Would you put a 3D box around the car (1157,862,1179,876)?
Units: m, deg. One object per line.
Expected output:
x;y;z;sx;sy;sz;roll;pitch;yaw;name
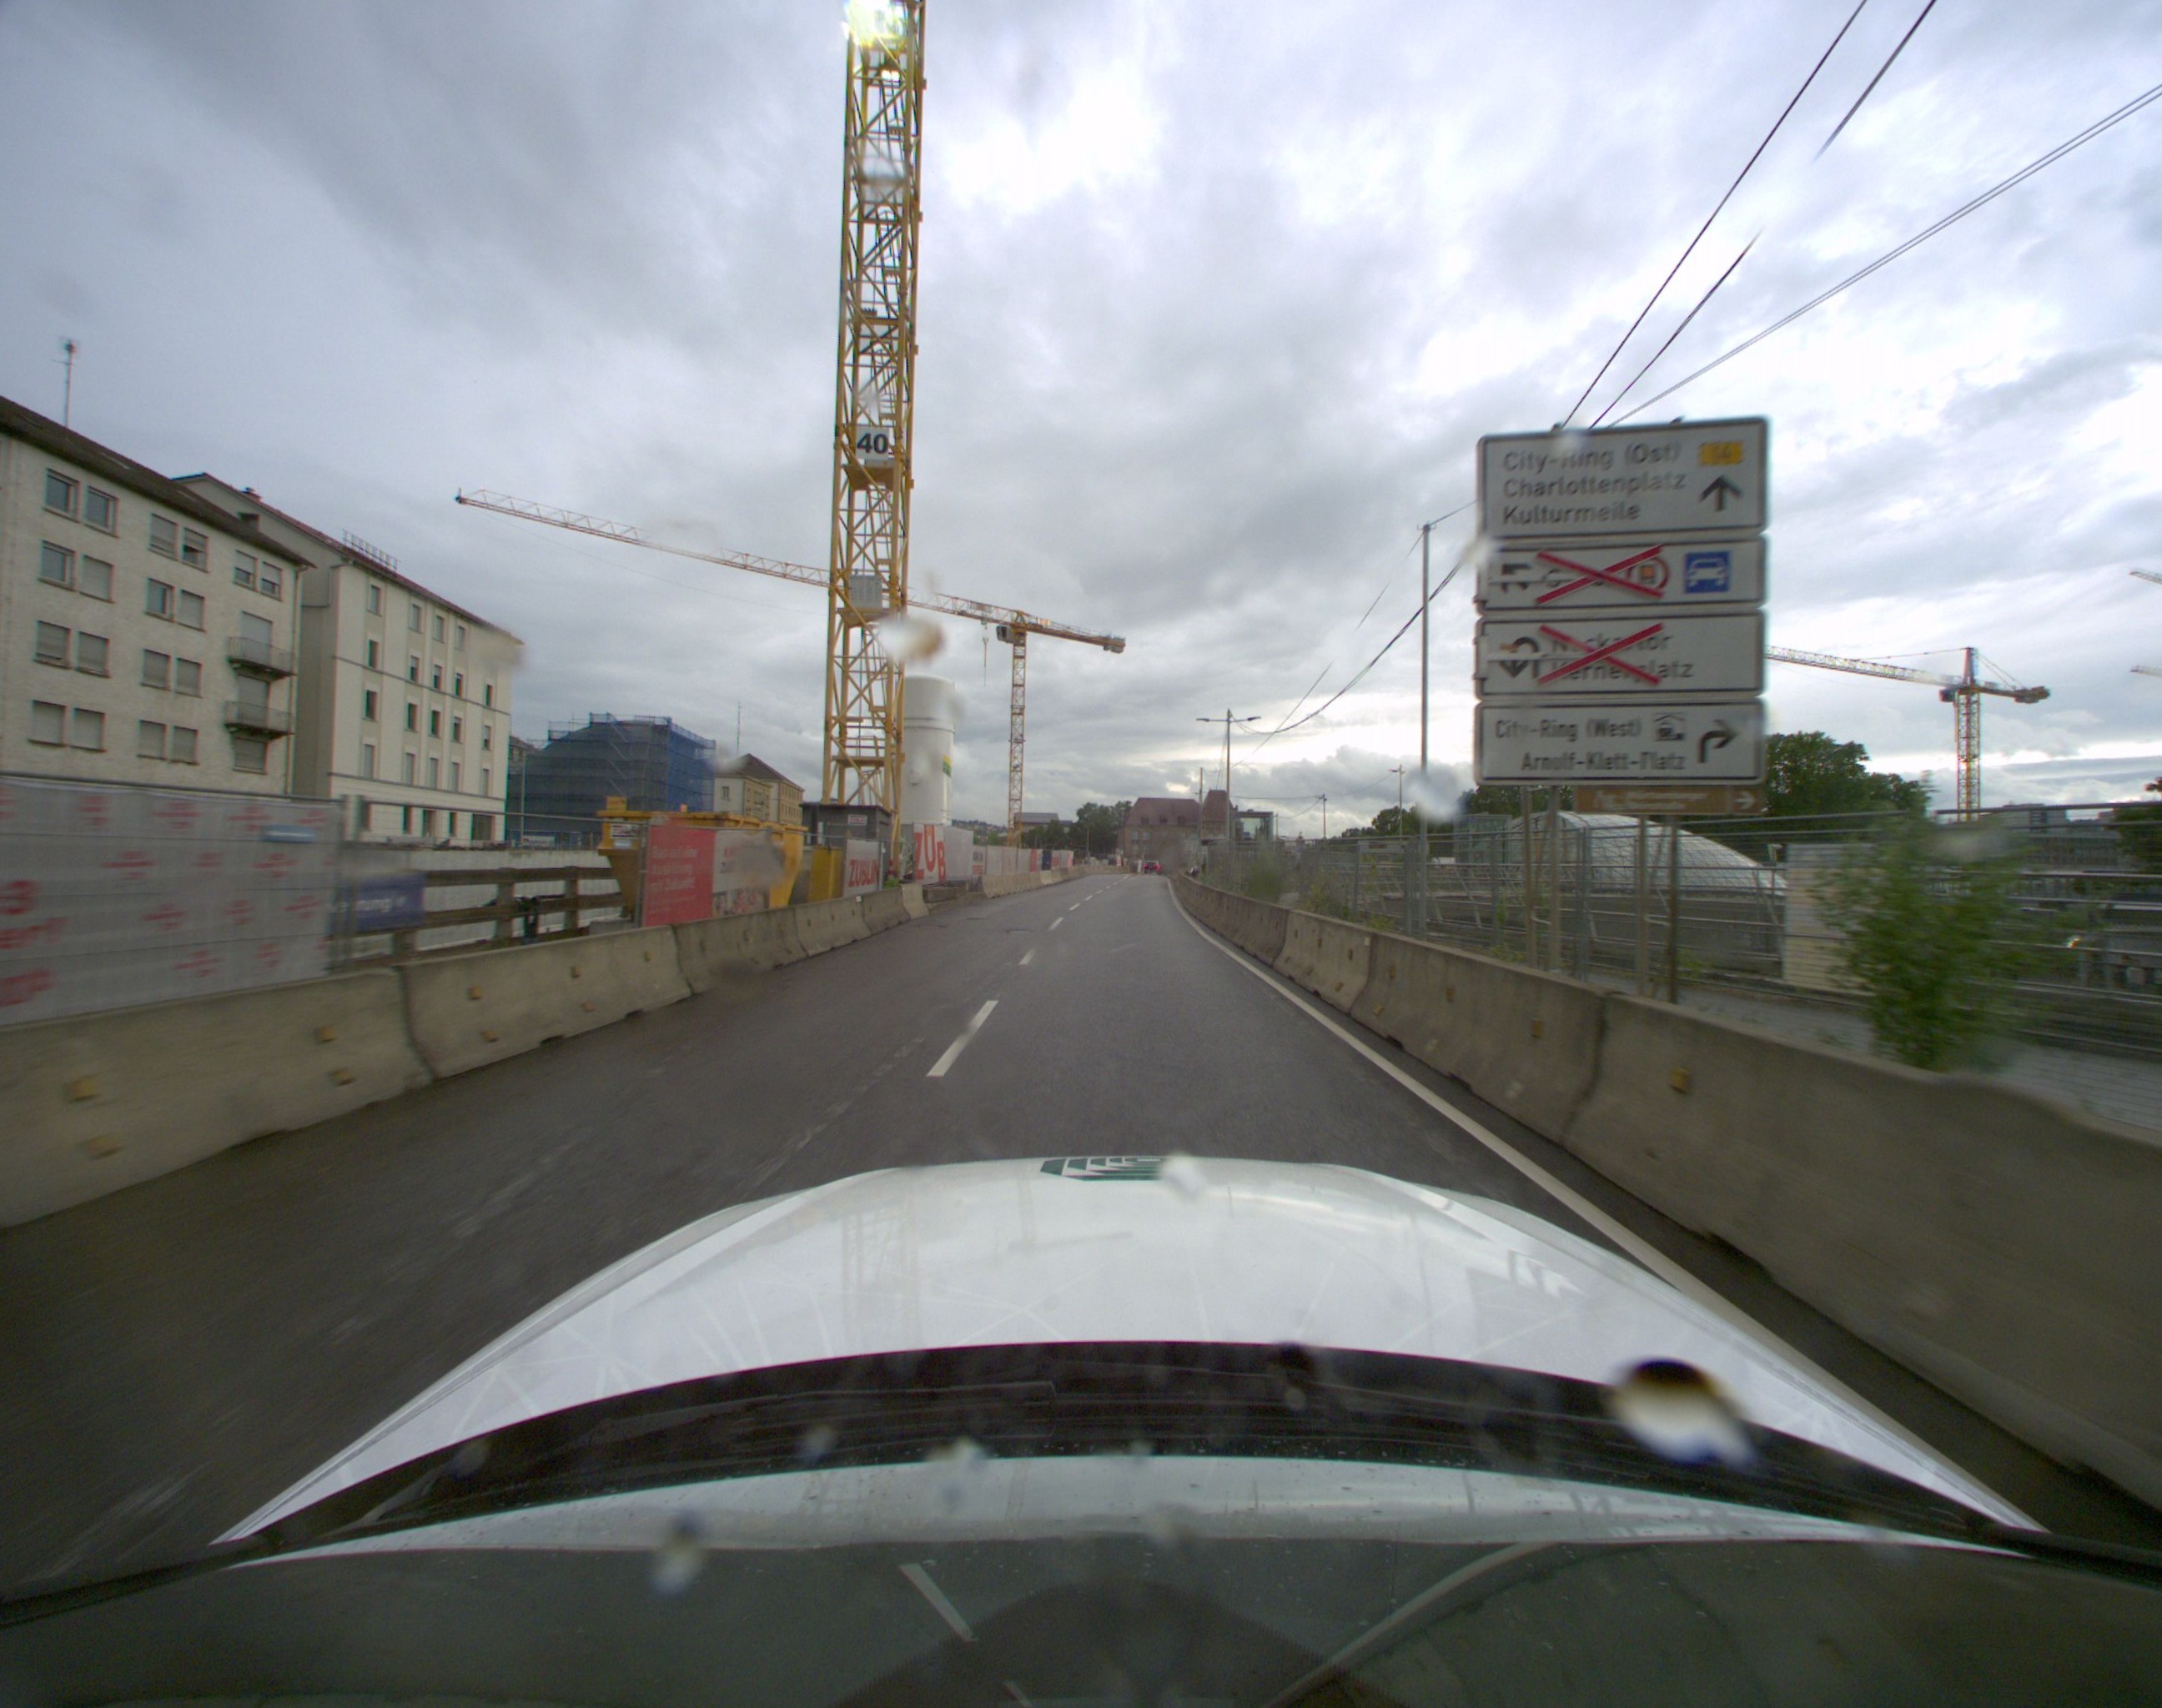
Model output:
9.450;1.626;87.915;1.850;1.433;4.670;-1;-2;12;car

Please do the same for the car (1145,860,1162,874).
9.433;1.686;105.196;1.852;1.661;4.667;1;-1;9;car
